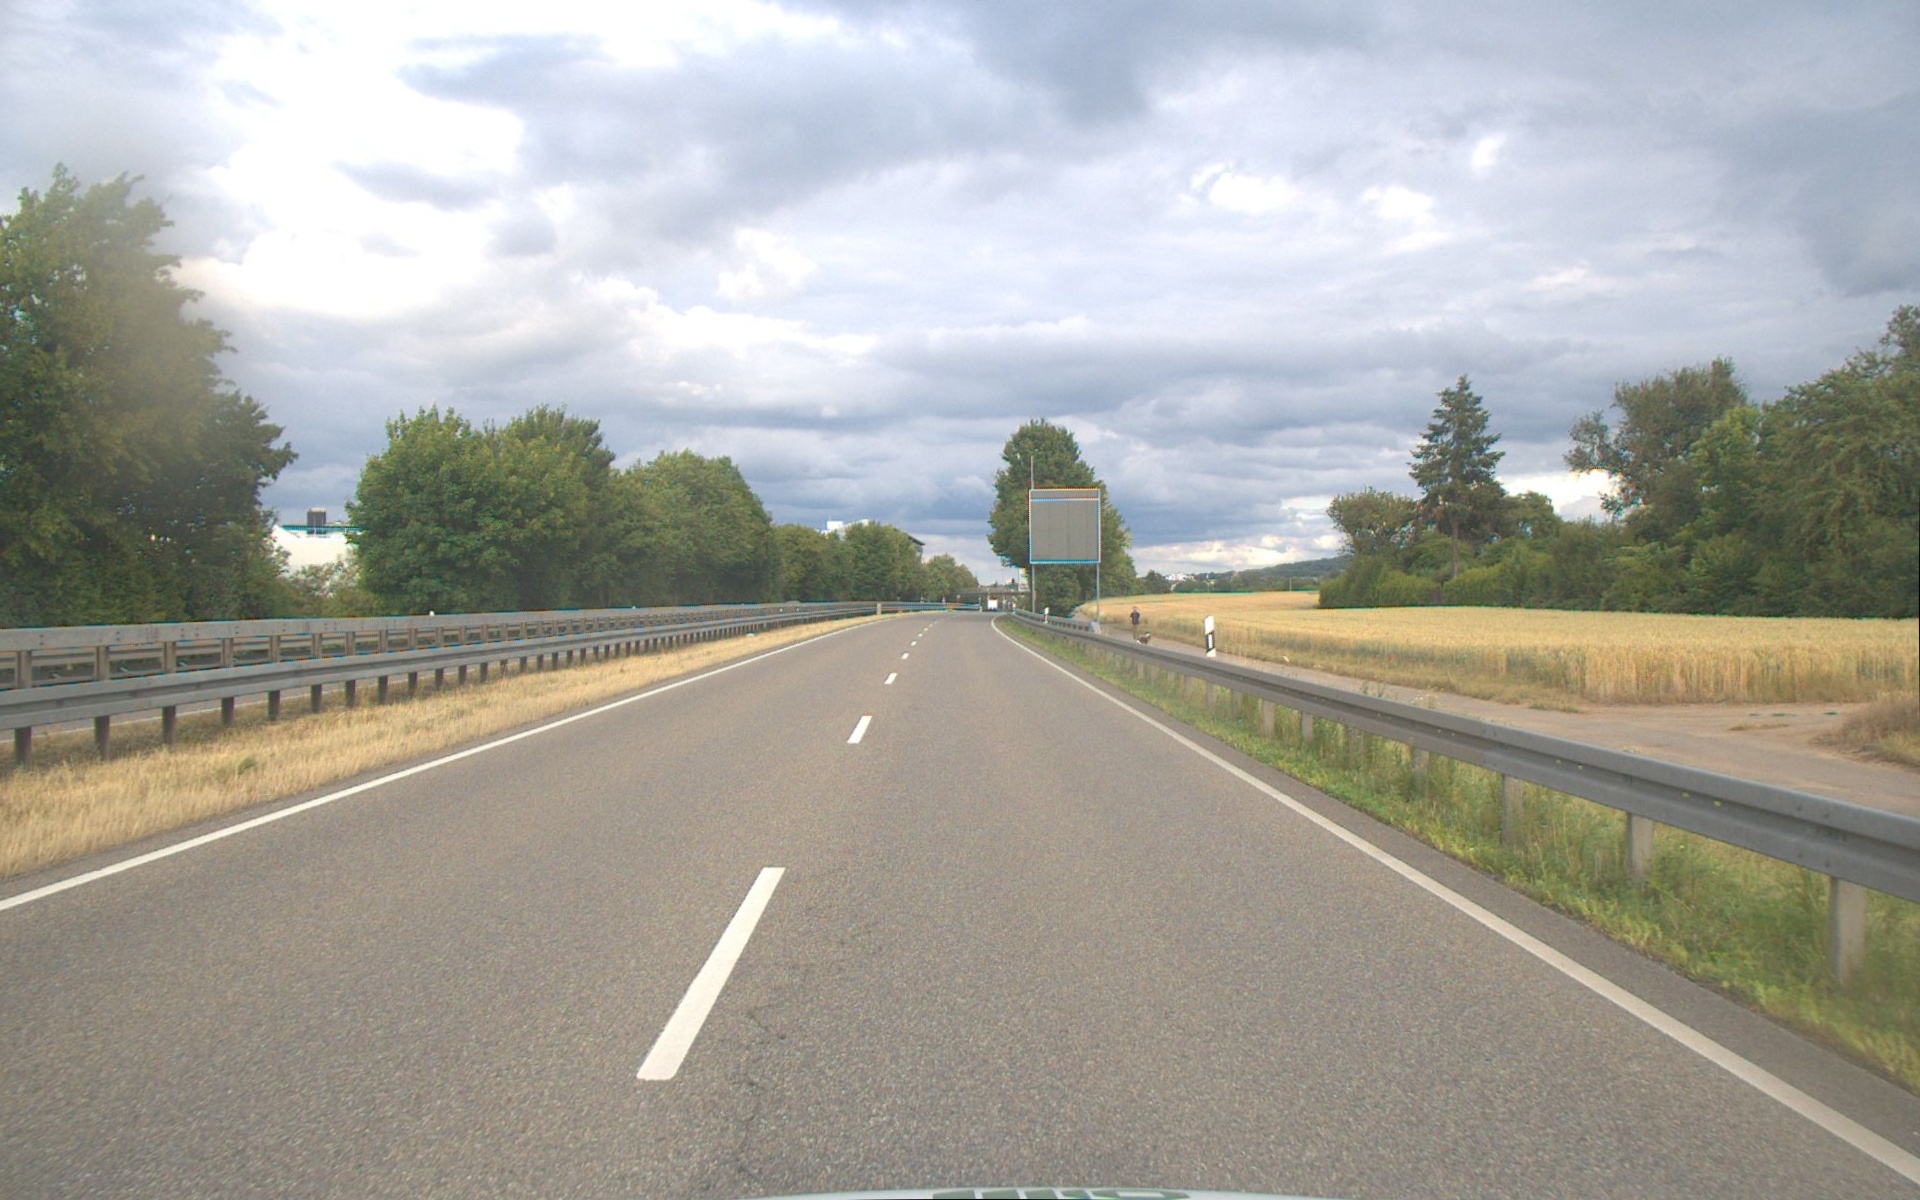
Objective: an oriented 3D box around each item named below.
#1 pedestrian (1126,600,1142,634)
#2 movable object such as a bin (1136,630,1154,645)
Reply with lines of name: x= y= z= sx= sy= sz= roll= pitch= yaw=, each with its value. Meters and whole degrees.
pedestrian: x=9.665 y=0.949 z=92.030 sx=0.755 sy=1.900 sz=0.940 roll=1 pitch=-1 yaw=-1
movable object such as a bin: x=9.026 y=1.828 z=80.856 sx=0.717 sy=0.657 sz=1.235 roll=2 pitch=0 yaw=0
